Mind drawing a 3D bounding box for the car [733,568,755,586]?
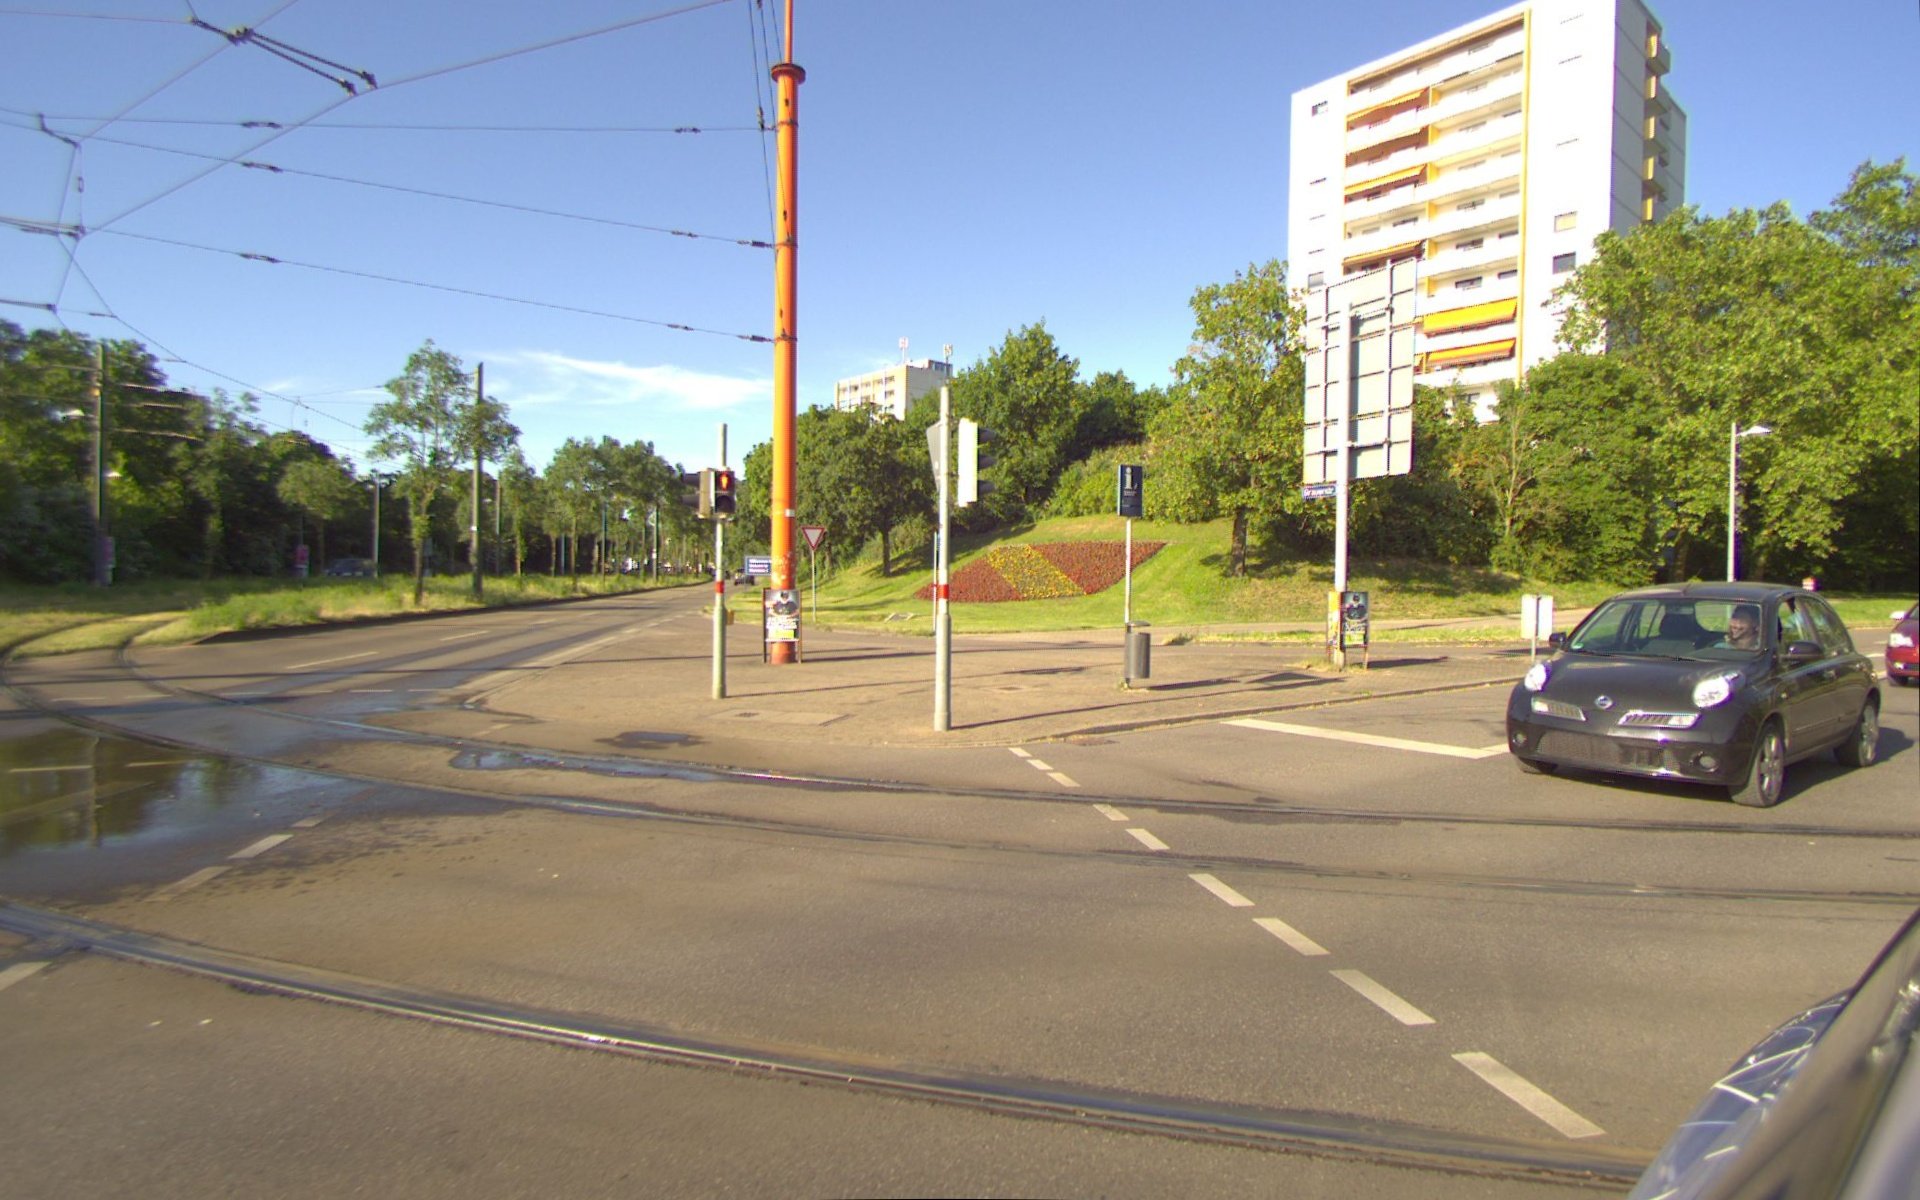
[{"bbox_3d":[-20.856,-2.238,97.640,1.958,1.725,4.703,0,2,-12],"label":"car"}]

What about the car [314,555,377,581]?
[{"bbox_3d":[-42.525,-2.207,70.173,1.959,1.753,4.826,0,1,-8],"label":"car"}]

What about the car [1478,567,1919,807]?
[{"bbox_3d":[6.304,0.503,8.357,4.535,1.501,1.740,-1,1,-36],"label":"car"}]

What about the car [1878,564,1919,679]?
[{"bbox_3d":[15.383,0.289,14.884,4.636,1.578,1.774,-1,1,-35],"label":"car"}]
